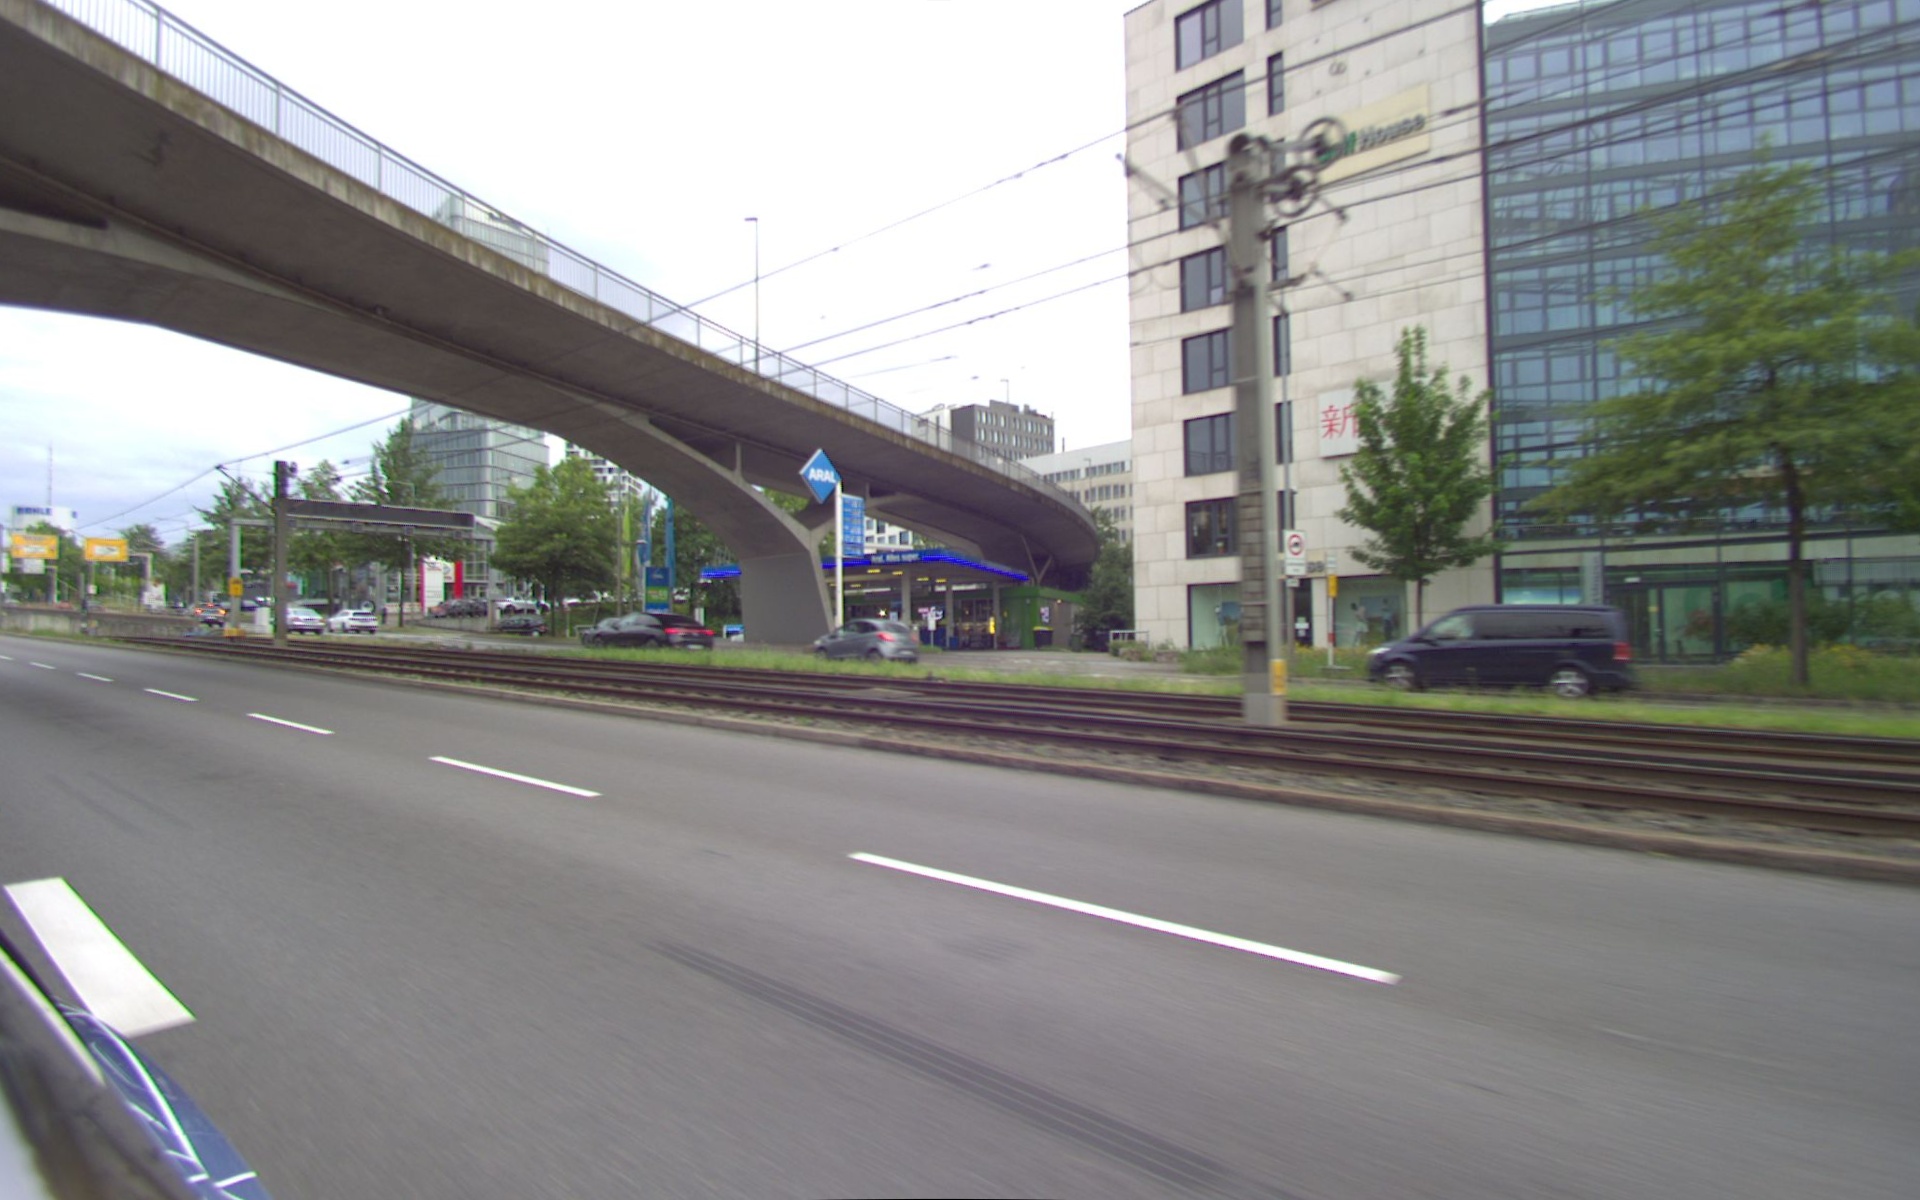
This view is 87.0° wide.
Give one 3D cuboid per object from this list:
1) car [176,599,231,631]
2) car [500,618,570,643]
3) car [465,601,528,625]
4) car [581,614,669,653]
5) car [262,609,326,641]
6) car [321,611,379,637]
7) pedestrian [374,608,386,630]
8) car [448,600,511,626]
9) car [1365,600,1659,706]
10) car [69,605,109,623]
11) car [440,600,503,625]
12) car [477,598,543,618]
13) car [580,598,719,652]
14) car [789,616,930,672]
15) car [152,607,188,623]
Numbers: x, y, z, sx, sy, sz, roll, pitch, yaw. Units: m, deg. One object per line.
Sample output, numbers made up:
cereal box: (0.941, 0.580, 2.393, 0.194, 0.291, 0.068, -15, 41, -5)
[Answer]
car: (-50.675, 1.035, 67.757, 4.217, 1.790, 1.902, -6, -5, 37)
car: (-29.229, 2.087, 69.598, 4.292, 1.515, 1.891, 0, 1, -27)
car: (-36.648, 1.017, 80.113, 1.886, 1.785, 4.140, 1, 1, 44)
car: (-14.958, 1.478, 45.089, 4.490, 1.610, 1.745, -1, 0, 42)
car: (-36.115, 1.331, 54.837, 4.791, 1.610, 1.745, -1, 0, 42)
car: (-38.829, 1.544, 64.380, 4.656, 1.509, 1.899, -1, -4, 43)
pedestrian: (-49.120, 1.618, 85.733, 0.636, 1.809, 0.679, 1, 1, 42)
car: (-39.062, 1.054, 82.342, 1.886, 1.962, 4.304, 1, 1, 44)
car: (11.508, 1.032, 21.339, 5.129, 1.967, 2.038, -1, 0, 40)
car: (-81.292, 1.300, 94.402, 4.754, 1.550, 2.027, -1, 0, 39)
car: (-40.449, 1.039, 83.828, 1.886, 1.962, 4.304, 1, 1, 44)
car: (-35.080, 0.608, 78.899, 1.886, 1.515, 4.304, 1, 1, 44)
car: (-9.741, 0.774, 31.579, 4.865, 1.545, 1.791, -1, 0, 40)
car: (-3.087, 1.280, 30.618, 4.272, 1.545, 1.791, -1, 0, 40)
car: (-82.094, 1.536, 105.144, 4.563, 1.540, 2.027, -1, 0, 40)
